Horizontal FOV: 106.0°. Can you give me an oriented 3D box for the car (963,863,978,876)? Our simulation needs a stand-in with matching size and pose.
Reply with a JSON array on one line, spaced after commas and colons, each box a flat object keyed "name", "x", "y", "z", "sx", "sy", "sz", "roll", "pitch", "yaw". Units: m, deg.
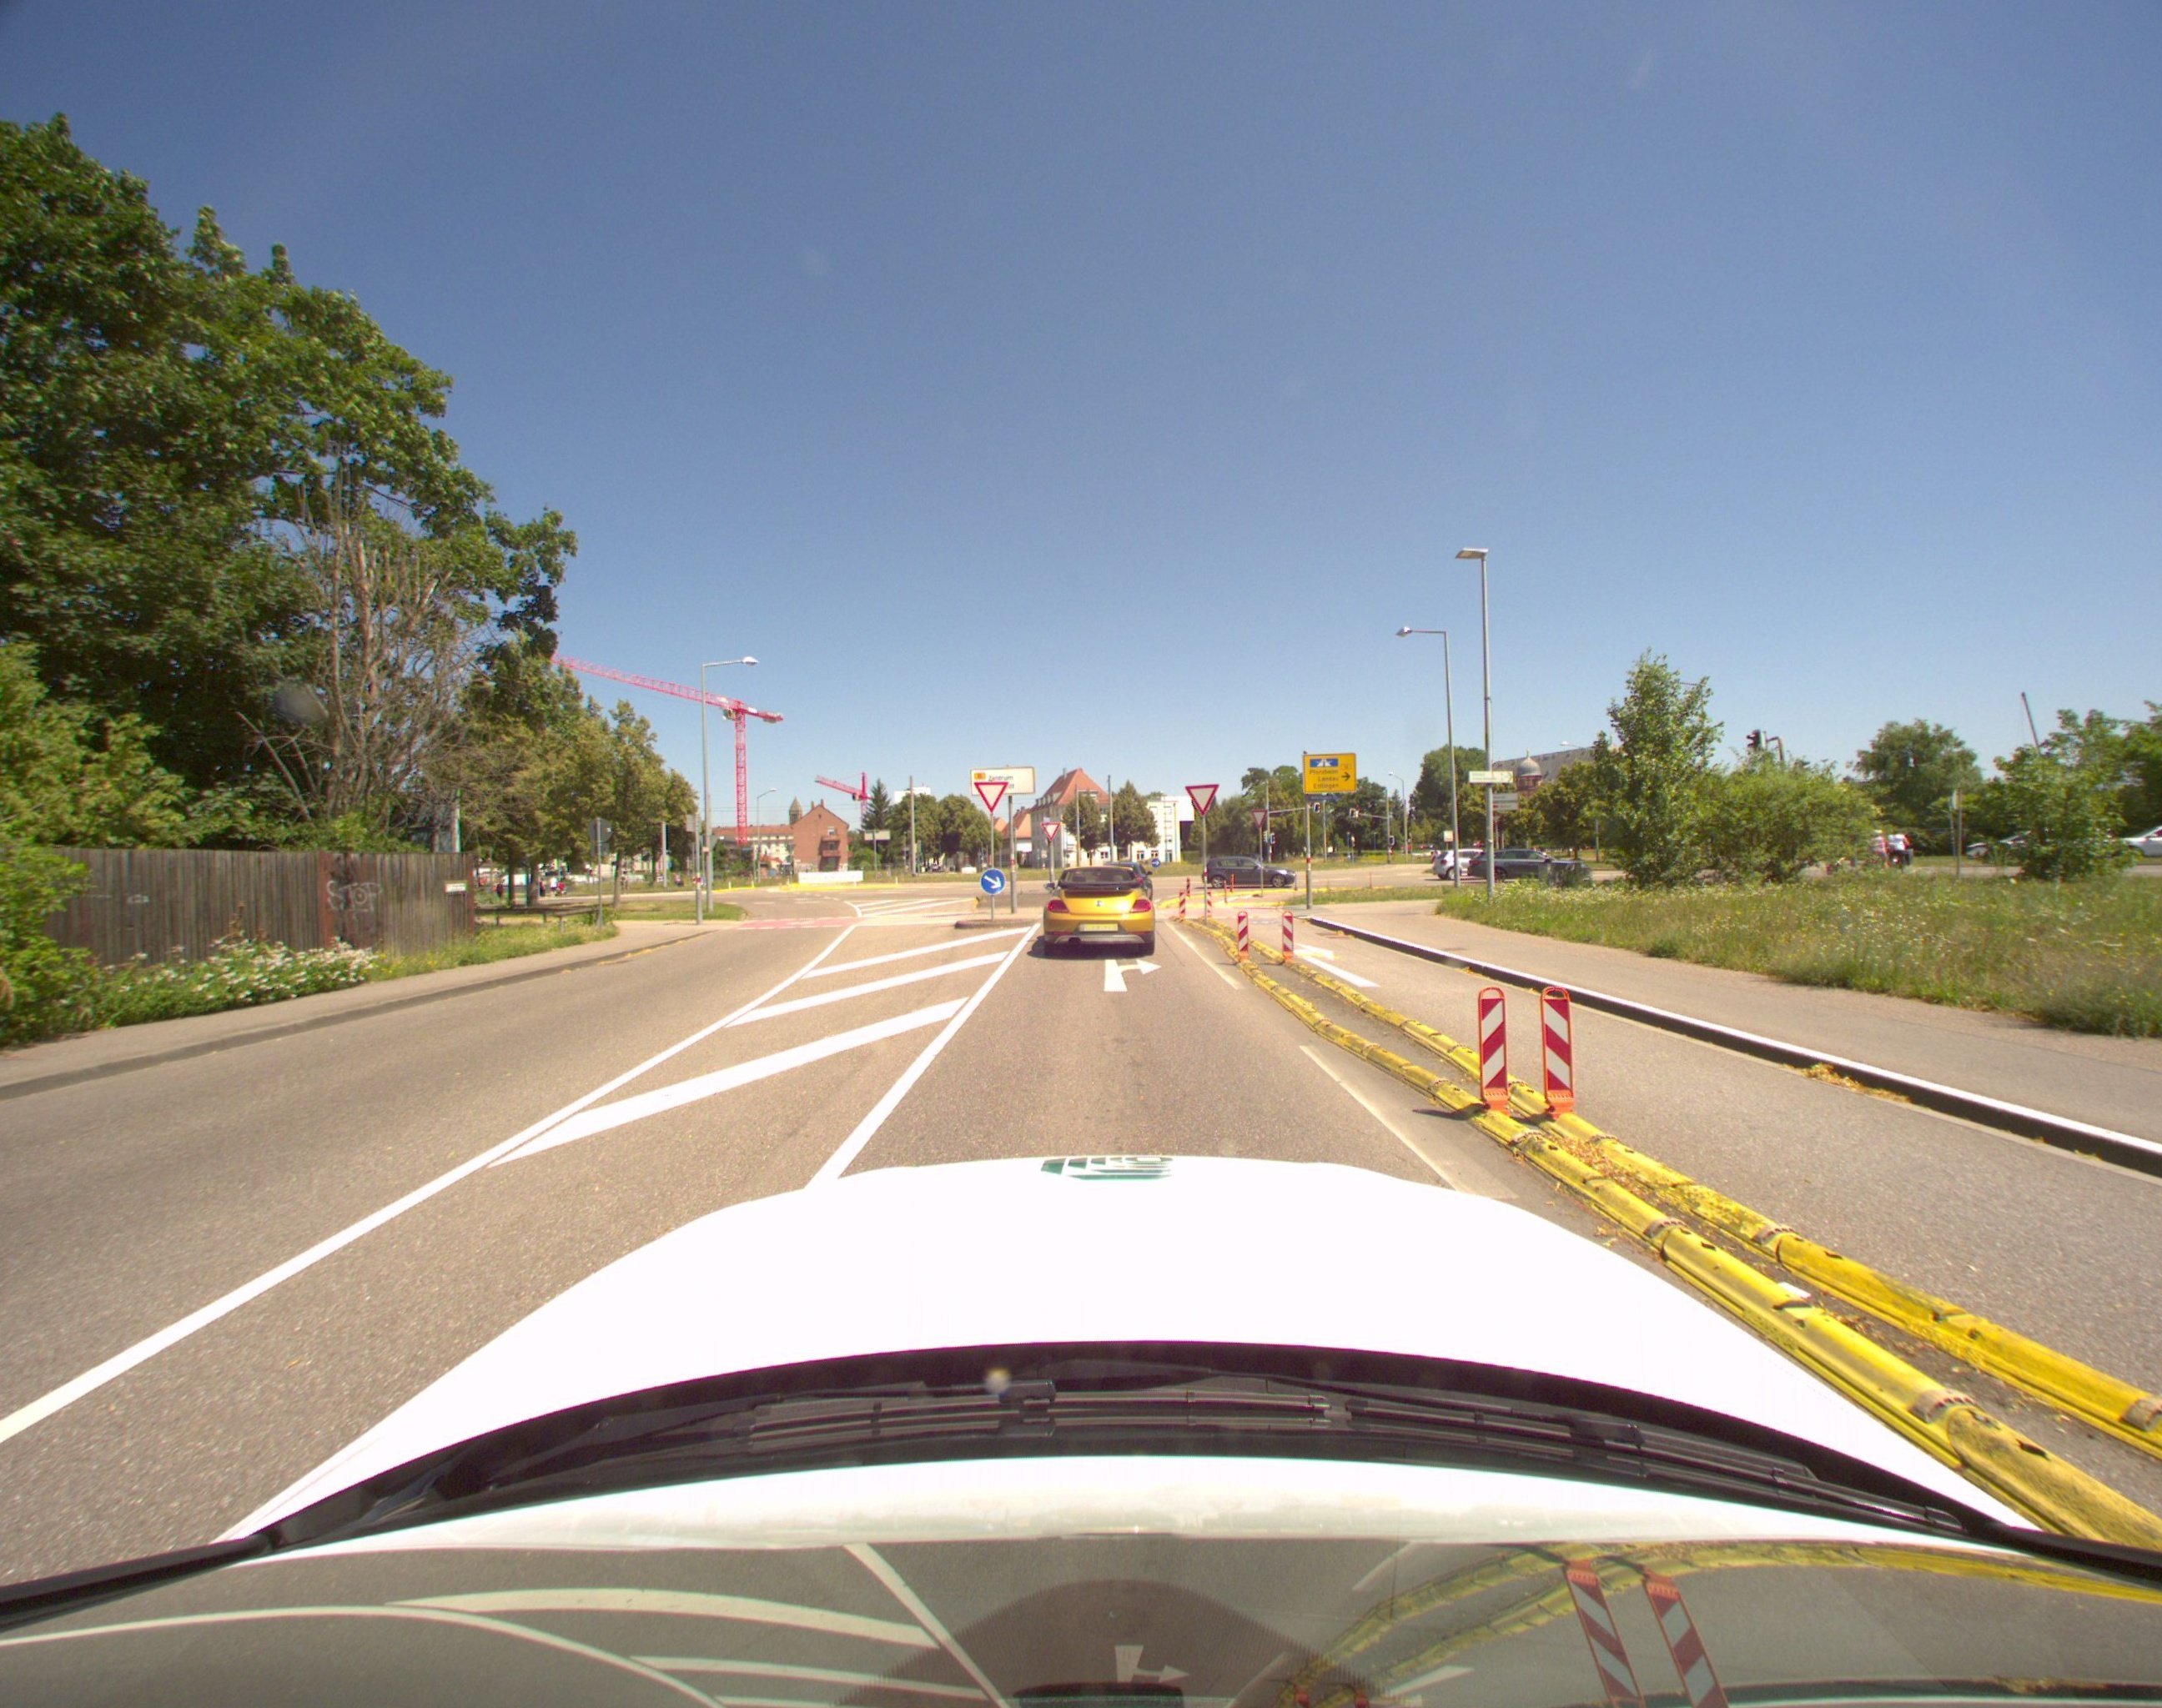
[{"name": "car", "x": -16.881, "y": 2.323, "z": 124.201, "sx": 1.994, "sy": 2.014, "sz": 3.985, "roll": 0, "pitch": -1, "yaw": -11}]

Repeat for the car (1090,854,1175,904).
[{"name": "car", "x": 1.795, "y": 0.788, "z": 27.248, "sx": 1.782, "sy": 1.440, "sz": 4.020, "roll": -1, "pitch": 1, "yaw": 19}]

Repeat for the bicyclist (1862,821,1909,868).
[{"name": "bicyclist", "x": 28.756, "y": -0.331, "z": 29.112, "sx": 1.190, "sy": 1.610, "sz": 0.950, "roll": 0, "pitch": -1, "yaw": -33}]

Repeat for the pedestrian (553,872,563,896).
[{"name": "pedestrian", "x": -42.745, "y": 2.452, "z": 66.621, "sx": 0.631, "sy": 1.934, "sz": 0.640, "roll": -2, "pitch": 0, "yaw": -33}]

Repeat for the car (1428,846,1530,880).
[{"name": "car", "x": 18.672, "y": 0.409, "z": 38.332, "sx": 3.962, "sy": 1.422, "sz": 1.787, "roll": -2, "pitch": 0, "yaw": 10}]

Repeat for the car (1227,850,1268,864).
[{"name": "car", "x": 18.224, "y": 0.382, "z": 89.256, "sx": 3.949, "sy": 1.464, "sz": 2.012, "roll": -1, "pitch": -1, "yaw": 28}]

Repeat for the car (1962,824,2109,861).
[{"name": "car", "x": 45.573, "y": -0.525, "z": 39.053, "sx": 4.352, "sy": 1.618, "sz": 1.876, "roll": -2, "pitch": 0, "yaw": 44}]

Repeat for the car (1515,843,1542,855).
[{"name": "car", "x": 82.469, "y": -0.902, "z": 150.189, "sx": 3.949, "sy": 2.014, "sz": 2.012, "roll": -1, "pitch": -1, "yaw": 41}]

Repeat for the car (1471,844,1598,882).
[{"name": "car", "x": 19.051, "y": 0.363, "z": 34.459, "sx": 4.404, "sy": 1.418, "sz": 2.010, "roll": -2, "pitch": 0, "yaw": 19}]

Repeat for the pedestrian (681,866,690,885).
[{"name": "pedestrian", "x": -41.523, "y": 2.283, "z": 85.549, "sx": 0.599, "sy": 2.014, "sz": 0.595, "roll": 0, "pitch": -1, "yaw": 1}]

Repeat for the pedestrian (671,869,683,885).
[{"name": "pedestrian", "x": -42.328, "y": 2.422, "z": 85.354, "sx": 0.773, "sy": 1.640, "sz": 0.764, "roll": -1, "pitch": -1, "yaw": 14}]

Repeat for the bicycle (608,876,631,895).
[{"name": "bicycle", "x": -42.311, "y": 2.851, "z": 74.634, "sx": 0.554, "sy": 1.685, "sz": 2.093, "roll": -1, "pitch": -1, "yaw": 13}]

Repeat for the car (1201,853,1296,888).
[{"name": "car", "x": 7.553, "y": 0.727, "z": 36.726, "sx": 4.039, "sy": 1.403, "sz": 1.759, "roll": -2, "pitch": 0, "yaw": 13}]

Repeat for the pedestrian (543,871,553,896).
[{"name": "pedestrian", "x": -42.966, "y": 2.381, "z": 65.672, "sx": 0.631, "sy": 1.934, "sz": 0.640, "roll": -2, "pitch": 0, "yaw": -33}]

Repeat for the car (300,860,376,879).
[{"name": "car", "x": -49.307, "y": 1.013, "z": 54.091, "sx": 3.539, "sy": 1.212, "sz": 1.743, "roll": 0, "pitch": -1, "yaw": 3}]

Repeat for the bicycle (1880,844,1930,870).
[{"name": "bicycle", "x": 32.287, "y": 0.111, "z": 31.921, "sx": 1.766, "sy": 0.900, "sz": 0.891, "roll": -3, "pitch": 2, "yaw": -27}]

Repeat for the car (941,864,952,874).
[{"name": "car", "x": -27.217, "y": 3.017, "z": 164.804, "sx": 1.994, "sy": 2.014, "sz": 3.985, "roll": 0, "pitch": -1, "yaw": -11}]

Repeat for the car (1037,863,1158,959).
[{"name": "car", "x": 0.313, "y": 0.894, "z": 14.254, "sx": 1.819, "sy": 1.403, "sz": 3.663, "roll": -1, "pitch": 0, "yaw": 2}]

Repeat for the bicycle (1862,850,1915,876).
[{"name": "bicycle", "x": 28.904, "y": 0.299, "z": 29.146, "sx": 2.234, "sy": 0.900, "sz": 0.889, "roll": -1, "pitch": 0, "yaw": -33}]

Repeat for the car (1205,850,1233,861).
[{"name": "car", "x": 21.804, "y": 0.181, "z": 129.054, "sx": 3.988, "sy": 1.684, "sz": 1.992, "roll": 0, "pitch": -1, "yaw": -11}]

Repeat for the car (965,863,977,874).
[{"name": "car", "x": -20.762, "y": 2.793, "z": 153.376, "sx": 1.994, "sy": 2.014, "sz": 3.985, "roll": 0, "pitch": -1, "yaw": -11}]

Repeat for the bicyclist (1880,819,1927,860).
[{"name": "bicyclist", "x": 32.250, "y": -0.563, "z": 31.939, "sx": 1.189, "sy": 1.531, "sz": 0.951, "roll": -3, "pitch": 0, "yaw": -28}]

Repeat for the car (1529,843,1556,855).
[{"name": "car", "x": 85.648, "y": -0.910, "z": 151.147, "sx": 3.949, "sy": 2.014, "sz": 2.012, "roll": -1, "pitch": -1, "yaw": 41}]

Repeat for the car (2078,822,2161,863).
[{"name": "car", "x": 46.226, "y": -0.535, "z": 34.797, "sx": 4.352, "sy": 1.683, "sz": 1.876, "roll": -2, "pitch": 0, "yaw": 44}]

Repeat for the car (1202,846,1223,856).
[{"name": "car", "x": 26.713, "y": -0.592, "z": 165.872, "sx": 3.956, "sy": 2.014, "sz": 2.009, "roll": -1, "pitch": -1, "yaw": 16}]
